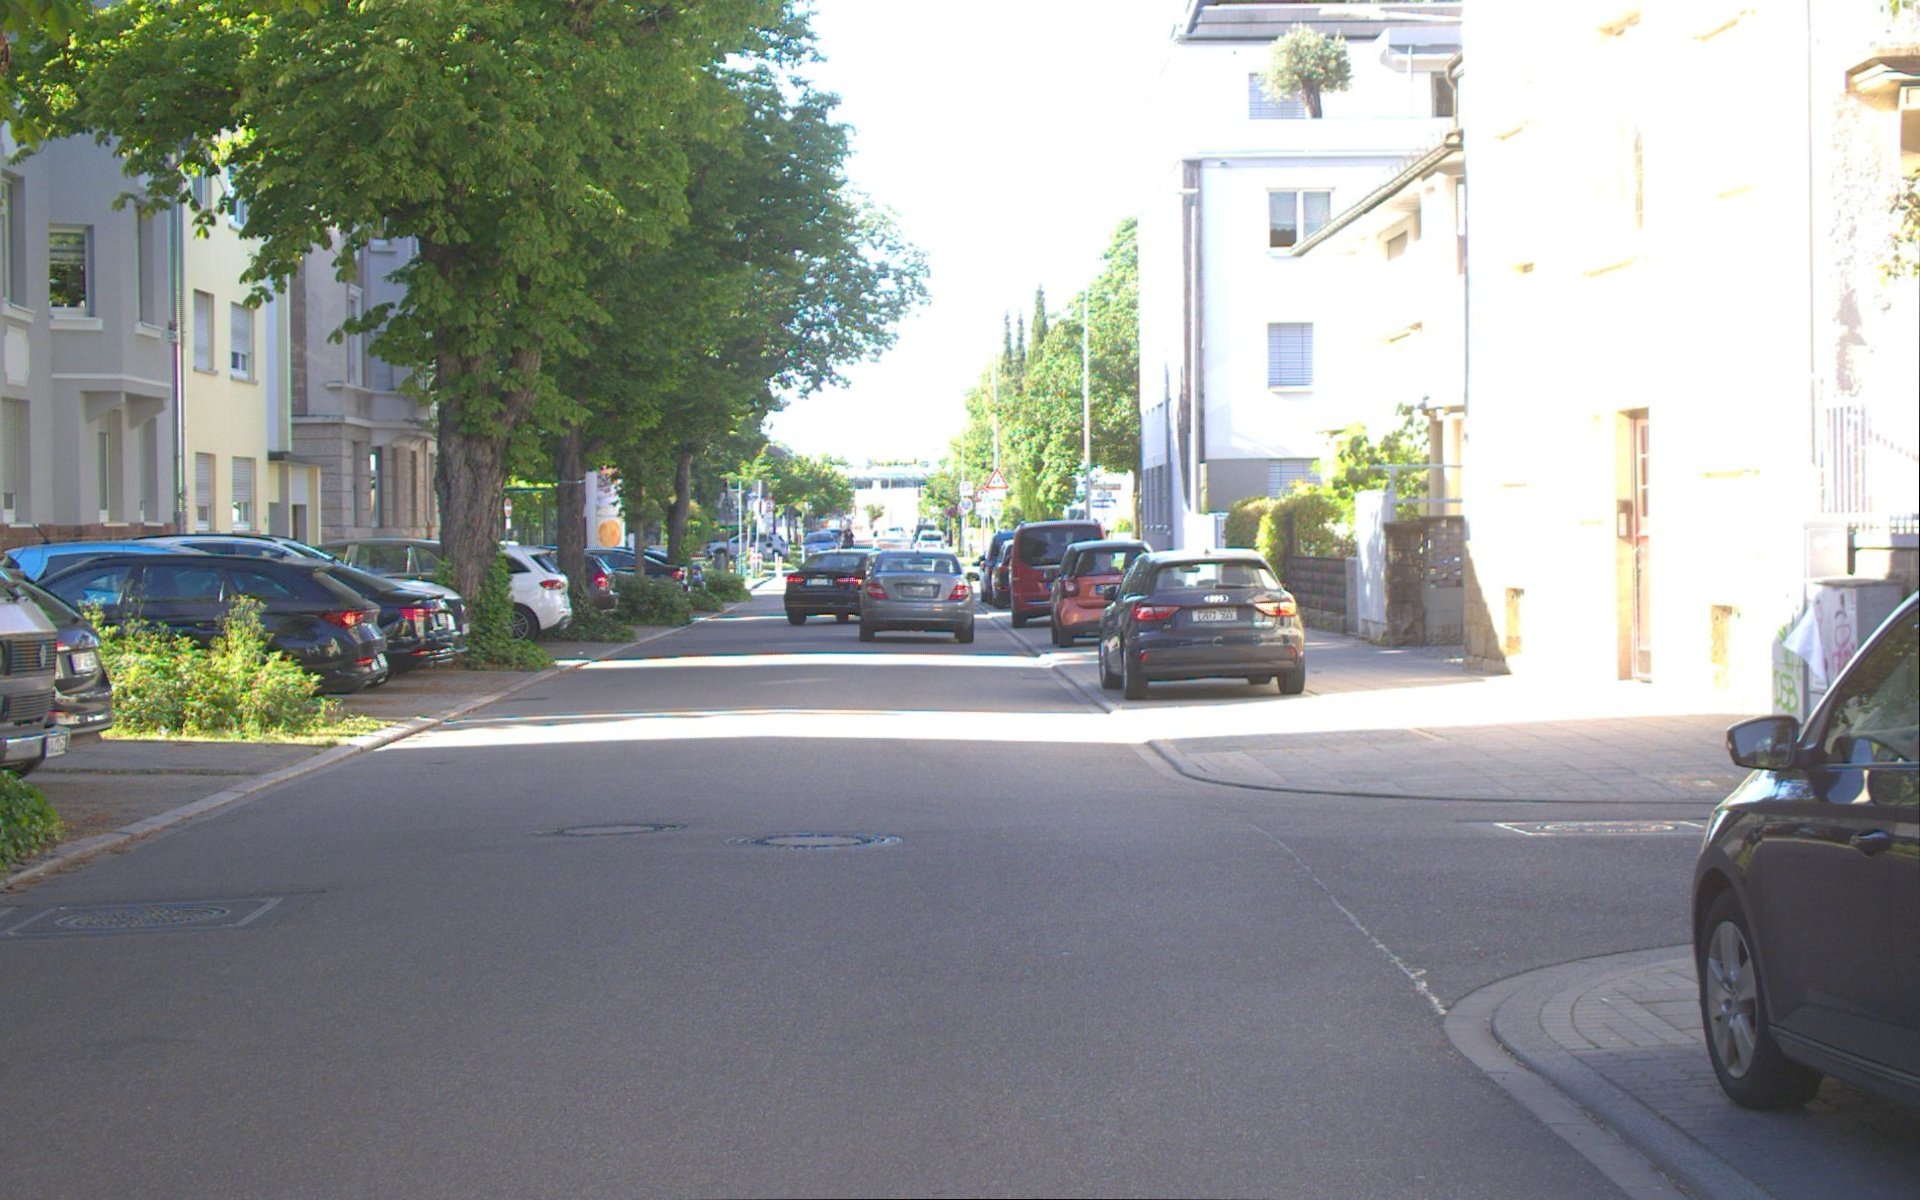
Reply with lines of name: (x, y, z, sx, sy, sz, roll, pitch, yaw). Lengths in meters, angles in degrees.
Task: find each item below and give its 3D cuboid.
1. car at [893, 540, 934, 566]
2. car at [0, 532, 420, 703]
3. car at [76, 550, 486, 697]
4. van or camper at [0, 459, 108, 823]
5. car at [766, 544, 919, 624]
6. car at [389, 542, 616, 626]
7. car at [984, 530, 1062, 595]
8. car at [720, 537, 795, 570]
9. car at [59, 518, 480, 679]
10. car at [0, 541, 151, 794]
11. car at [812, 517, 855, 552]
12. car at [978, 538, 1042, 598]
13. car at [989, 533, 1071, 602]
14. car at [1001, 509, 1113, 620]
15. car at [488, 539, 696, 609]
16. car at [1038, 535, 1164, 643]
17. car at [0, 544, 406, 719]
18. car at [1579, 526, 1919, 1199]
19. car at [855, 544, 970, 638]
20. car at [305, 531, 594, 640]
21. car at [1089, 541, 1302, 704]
car: (-2.383, -2.391, 174.720, 1.722, 1.325, 4.001, -1, 1, -5)
car: (-7.434, 0.150, 33.812, 3.986, 1.587, 1.878, -1, 1, -2)
car: (-7.094, 0.230, 36.198, 3.987, 1.463, 1.697, -1, 1, -1)
van or camper: (-7.191, 0.207, 18.967, 4.497, 1.908, 1.964, 0, 1, -1)
car: (-2.198, -0.285, 65.668, 1.708, 1.443, 4.199, 2, 0, 16)
car: (-8.442, -0.305, 63.608, 3.986, 1.416, 1.771, 1, 2, -2)
car: (1.541, -0.914, 85.516, 1.682, 1.430, 4.266, -4, 0, -1)
car: (-9.829, -2.261, 166.975, 3.493, 1.528, 1.645, -1, 1, -7)
car: (-7.810, -0.036, 39.168, 4.386, 1.646, 1.823, -1, 2, 0)
car: (-7.291, 0.364, 21.711, 3.945, 1.493, 1.662, 1, 2, 1)
car: (-6.358, -3.291, 172.385, 1.872, 1.722, 4.001, -1, 1, -5)
car: (1.297, -0.827, 90.232, 1.564, 1.406, 3.729, -4, 0, 0)
car: (1.599, -0.770, 79.834, 1.737, 1.526, 4.179, -1, 1, -1)
car: (1.744, -0.644, 63.261, 1.871, 1.898, 5.197, -1, 0, 0)
car: (-8.154, -0.565, 76.513, 4.473, 1.474, 1.869, 1, 0, -2)
car: (2.047, -0.182, 50.504, 1.592, 1.475, 3.247, -2, 1, -1)
car: (-7.219, 0.265, 30.967, 4.186, 1.493, 1.861, -1, 1, -2)
car: (2.808, 0.580, 8.157, 1.662, 1.515, 4.002, -2, 0, -4)
car: (-0.714, -0.133, 53.569, 1.726, 1.415, 3.960, 0, 0, 0)
car: (-7.569, -0.227, 51.234, 4.022, 1.479, 1.807, 2, 1, -1)
car: (2.281, 0.176, 34.174, 1.619, 1.435, 3.935, -3, 1, -3)
